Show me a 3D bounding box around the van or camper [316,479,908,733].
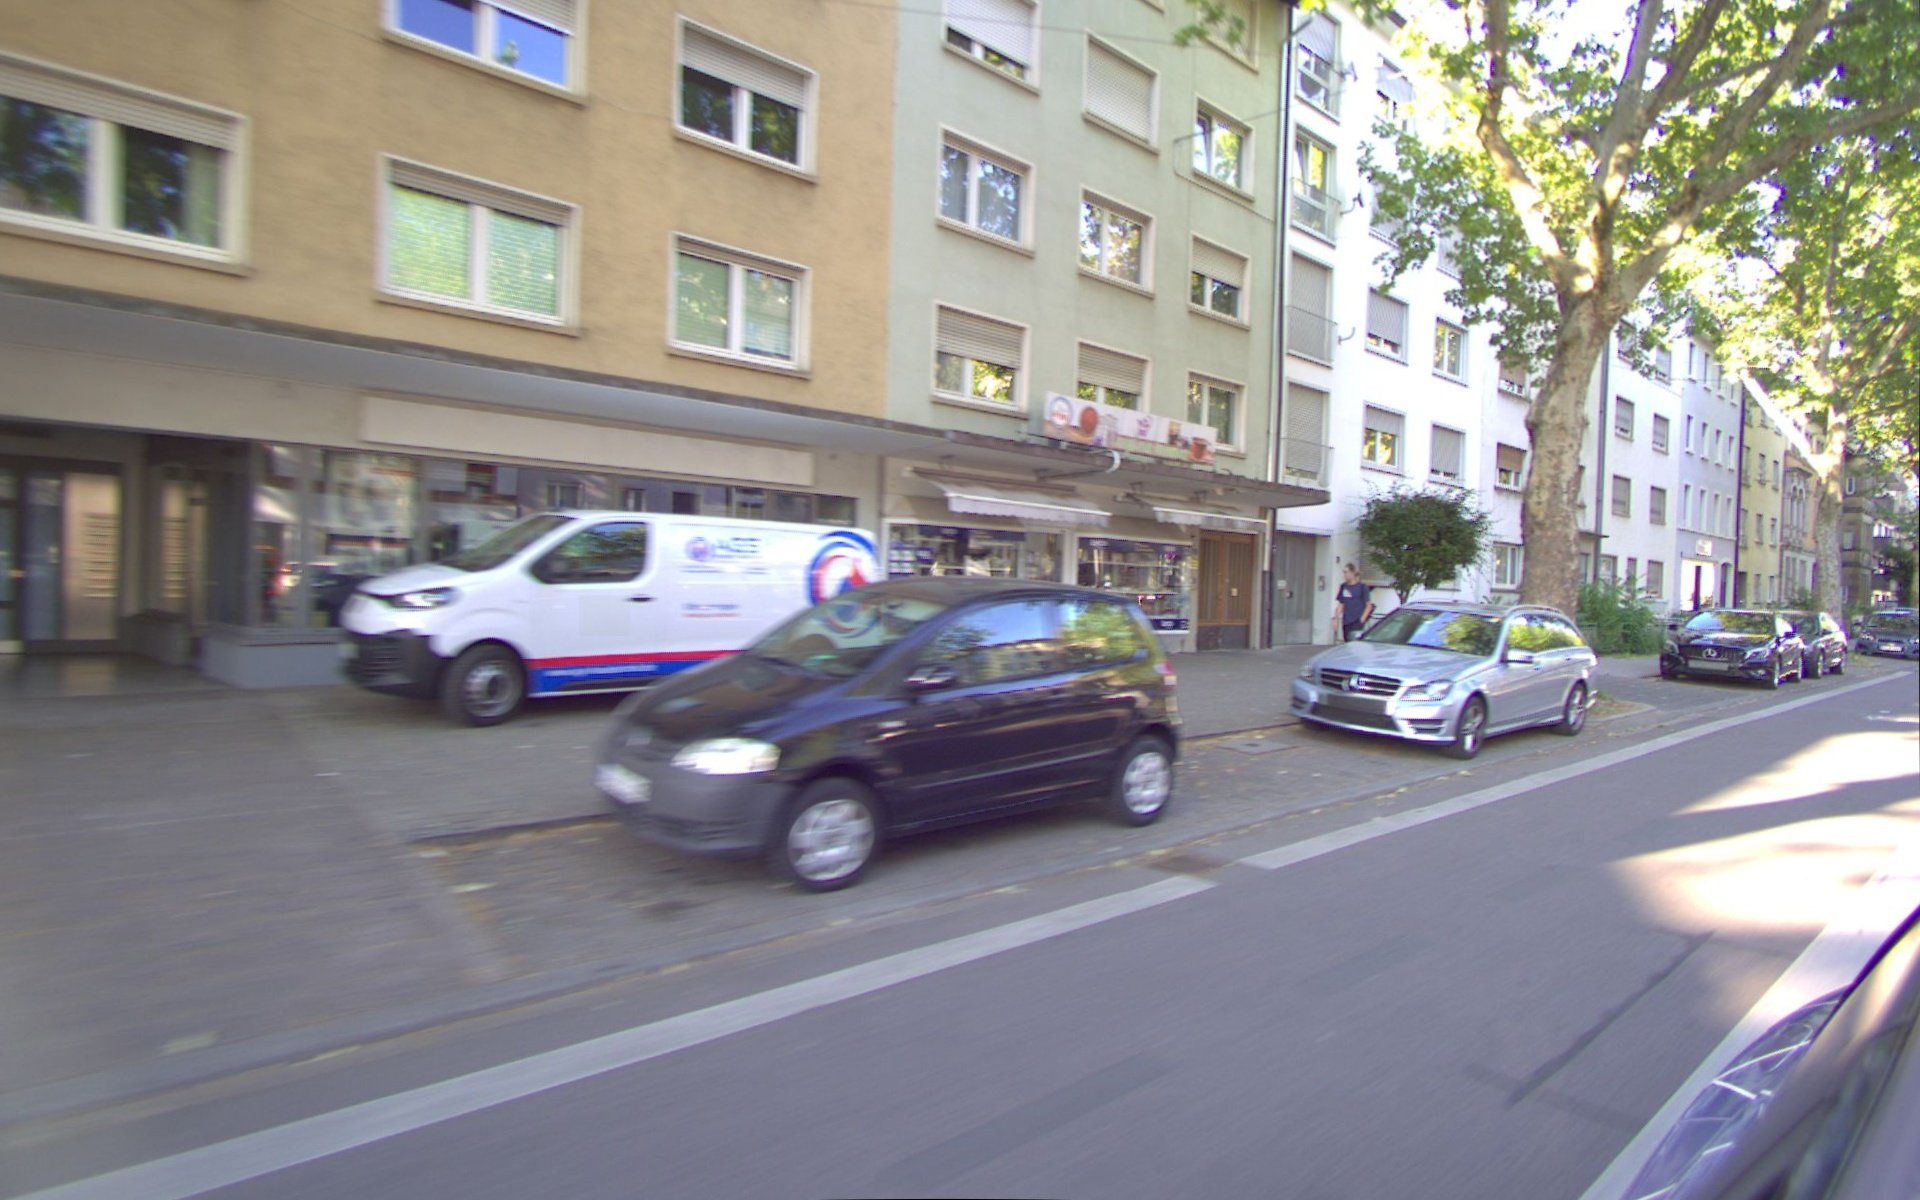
[{"bbox_3d":[-3.224,0.016,10.228,5.297,1.946,1.945,0,2,-42],"label":"van or camper"}]

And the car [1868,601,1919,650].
[{"bbox_3d":[30.888,0.793,32.981,1.744,1.482,3.961,3,2,44],"label":"car"}]

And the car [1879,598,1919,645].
[{"bbox_3d":[35.792,0.787,37.495,4.583,1.585,1.998,0,4,-41],"label":"car"}]

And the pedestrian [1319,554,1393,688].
[{"bbox_3d":[6.268,0.316,15.997,0.994,2.039,0.683,0,-1,-41],"label":"pedestrian"}]

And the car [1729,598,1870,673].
[{"bbox_3d":[18.987,0.732,22.833,4.288,1.432,1.712,0,4,-41],"label":"car"}]

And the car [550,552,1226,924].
[{"bbox_3d":[-0.220,0.570,6.226,3.930,1.564,1.657,0,2,-42],"label":"car"}]

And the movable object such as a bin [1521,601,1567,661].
[{"bbox_3d":[11.854,0.614,20.536,0.655,1.173,0.616,0,1,-43],"label":"movable object such as a bin"}]

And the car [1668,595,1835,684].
[{"bbox_3d":[15.411,0.689,19.621,4.288,1.432,1.712,0,4,-41],"label":"car"}]

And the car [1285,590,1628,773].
[{"bbox_3d":[5.609,0.723,11.127,4.694,1.562,1.698,0,2,-42],"label":"car"}]
